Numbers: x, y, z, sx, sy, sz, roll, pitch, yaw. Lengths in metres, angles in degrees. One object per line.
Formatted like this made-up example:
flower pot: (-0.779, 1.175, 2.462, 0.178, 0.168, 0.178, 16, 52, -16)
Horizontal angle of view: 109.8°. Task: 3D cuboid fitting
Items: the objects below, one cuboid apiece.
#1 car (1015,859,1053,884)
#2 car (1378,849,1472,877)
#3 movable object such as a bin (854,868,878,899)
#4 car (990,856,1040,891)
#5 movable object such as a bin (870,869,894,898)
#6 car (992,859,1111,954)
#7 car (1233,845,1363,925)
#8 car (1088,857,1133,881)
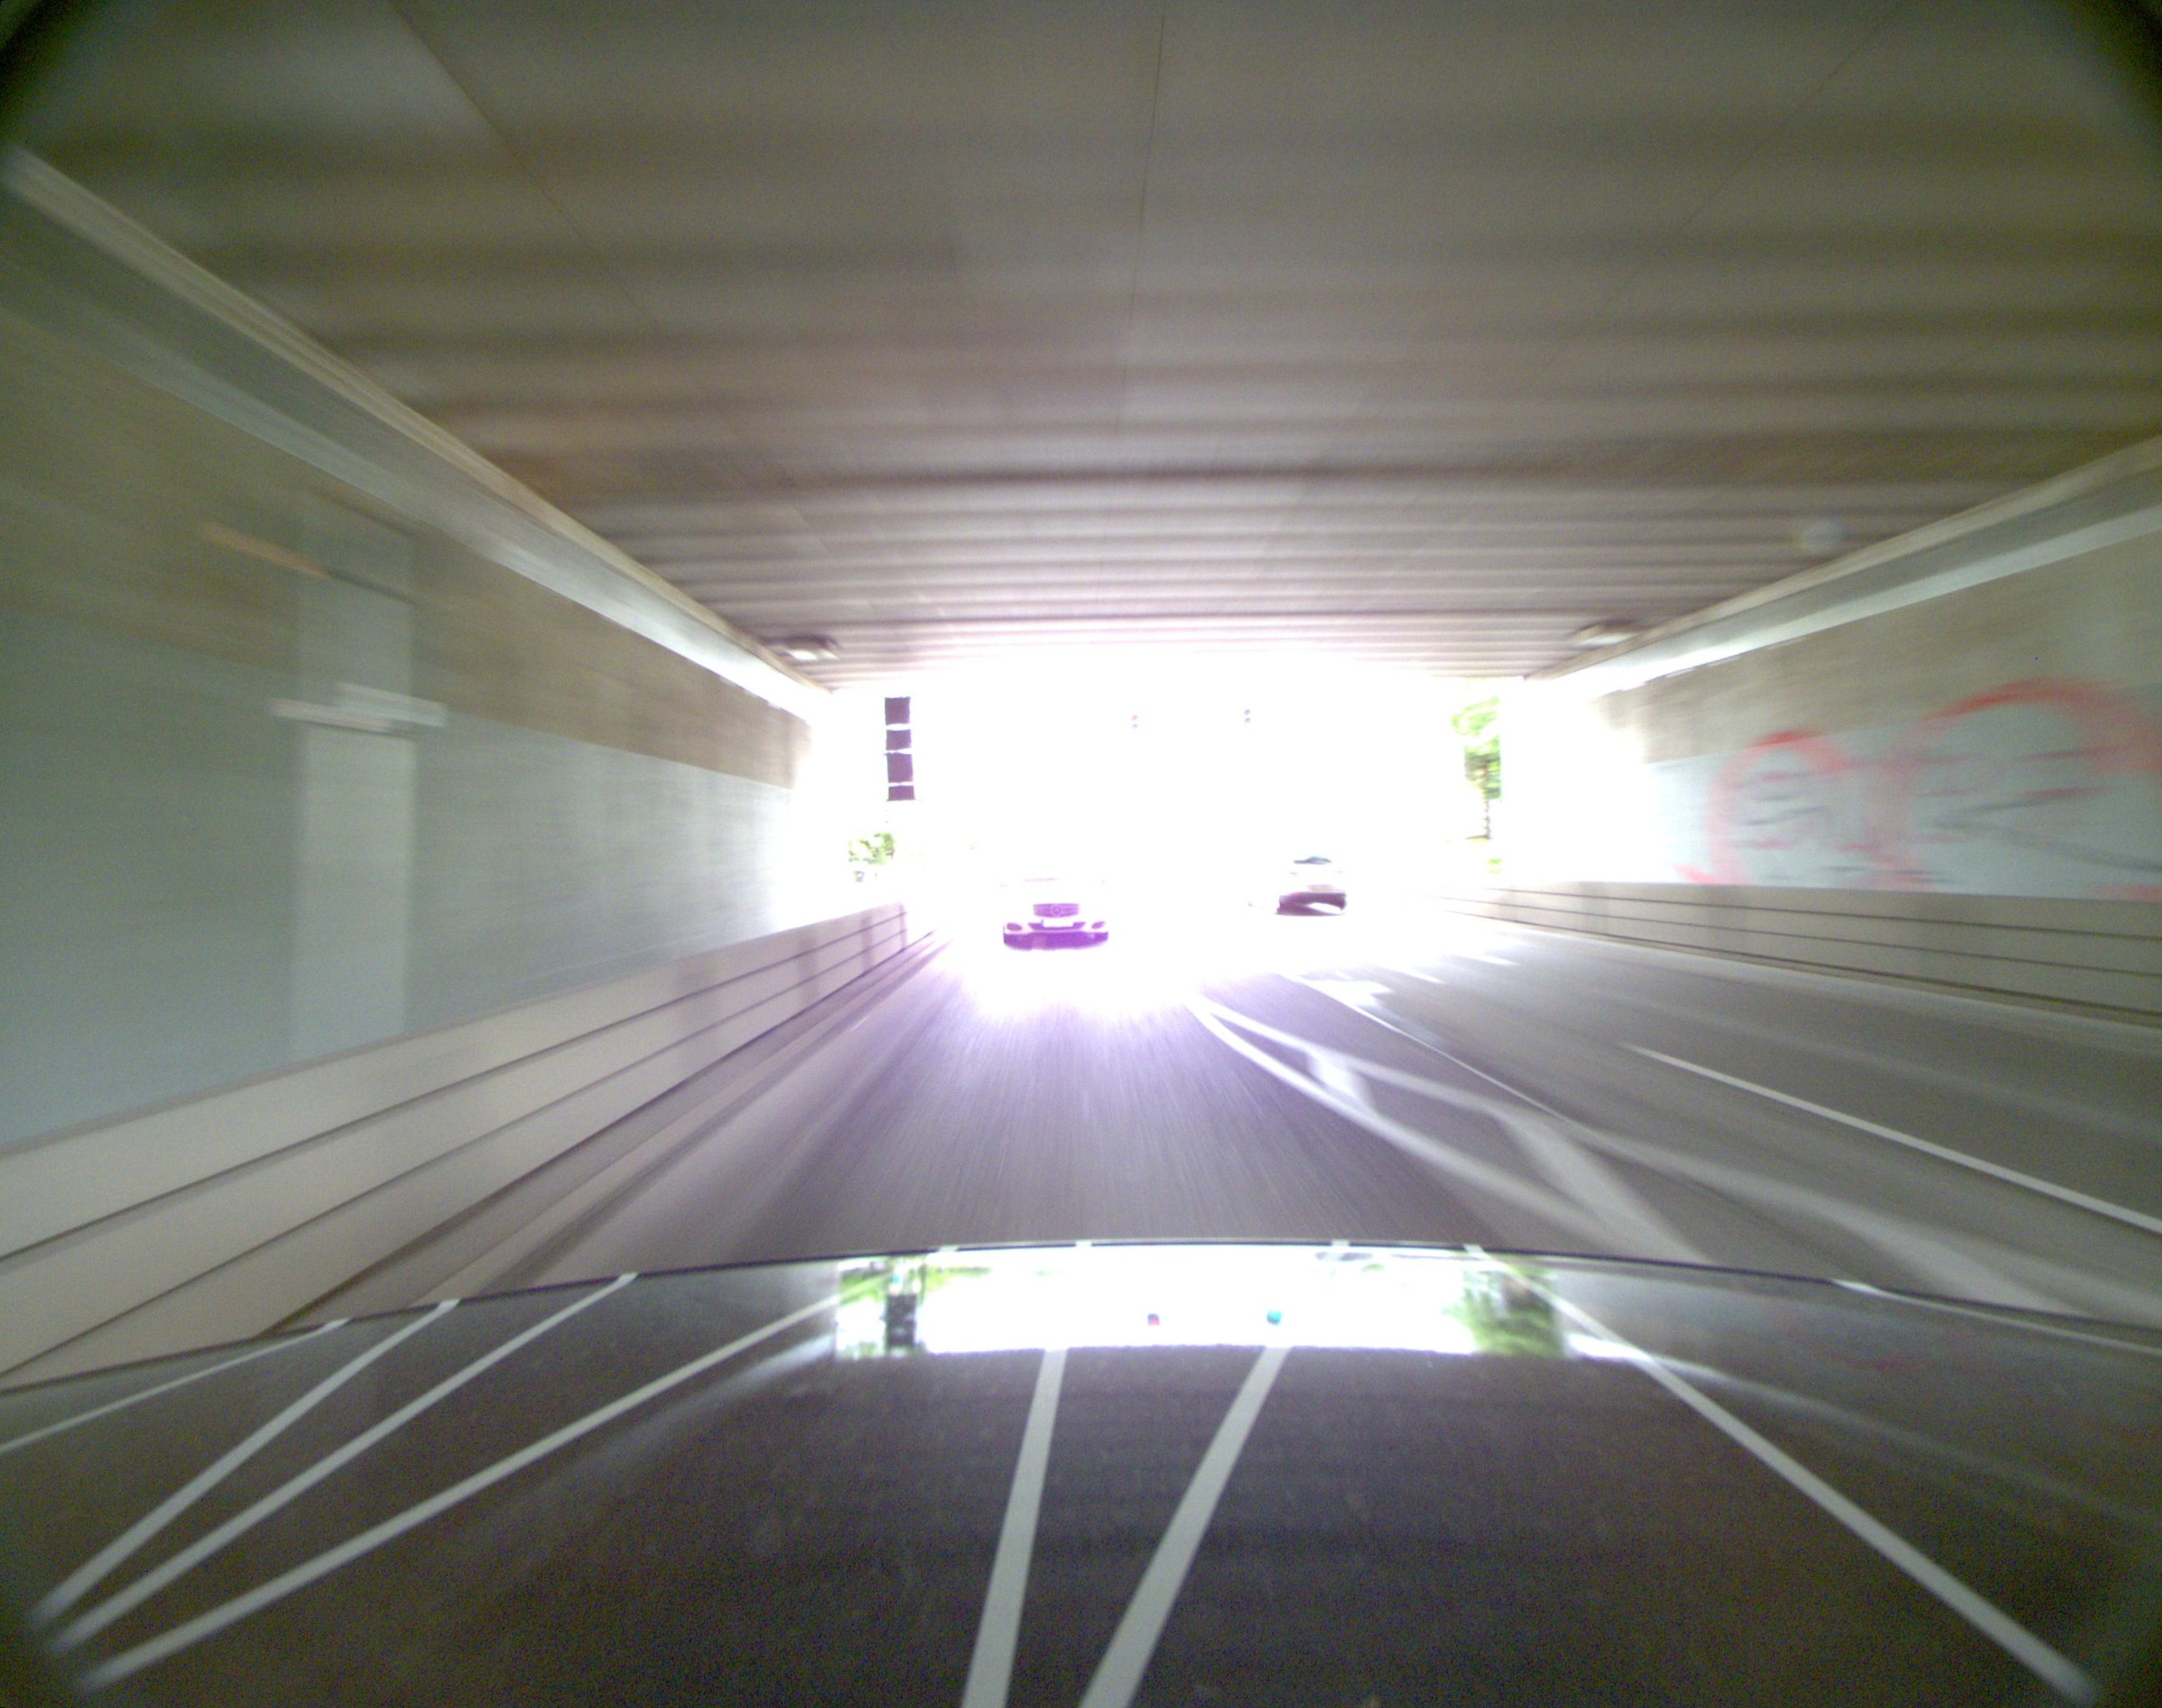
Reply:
car: (-3.160, 1.164, 50.861, 1.582, 1.548, 3.012, -3, 0, -22)
car: (18.488, 0.459, 40.904, 4.423, 1.331, 1.997, -2, 2, -18)
movable object such as a bin: (-8.122, 1.115, 28.651, 0.642, 1.109, 0.577, -2, 0, 41)
car: (-3.313, 0.953, 37.731, 1.825, 1.535, 3.722, -4, 0, -14)
movable object such as a bin: (-7.652, 1.131, 29.210, 0.642, 1.109, 0.577, -2, 0, 41)
car: (-0.443, 0.878, 14.472, 1.887, 1.414, 4.000, -3, 1, 1)
car: (5.099, 0.659, 18.454, 1.788, 1.650, 4.107, -3, 0, -2)
car: (1.856, 0.898, 48.567, 1.730, 1.401, 3.995, -2, 0, -15)
